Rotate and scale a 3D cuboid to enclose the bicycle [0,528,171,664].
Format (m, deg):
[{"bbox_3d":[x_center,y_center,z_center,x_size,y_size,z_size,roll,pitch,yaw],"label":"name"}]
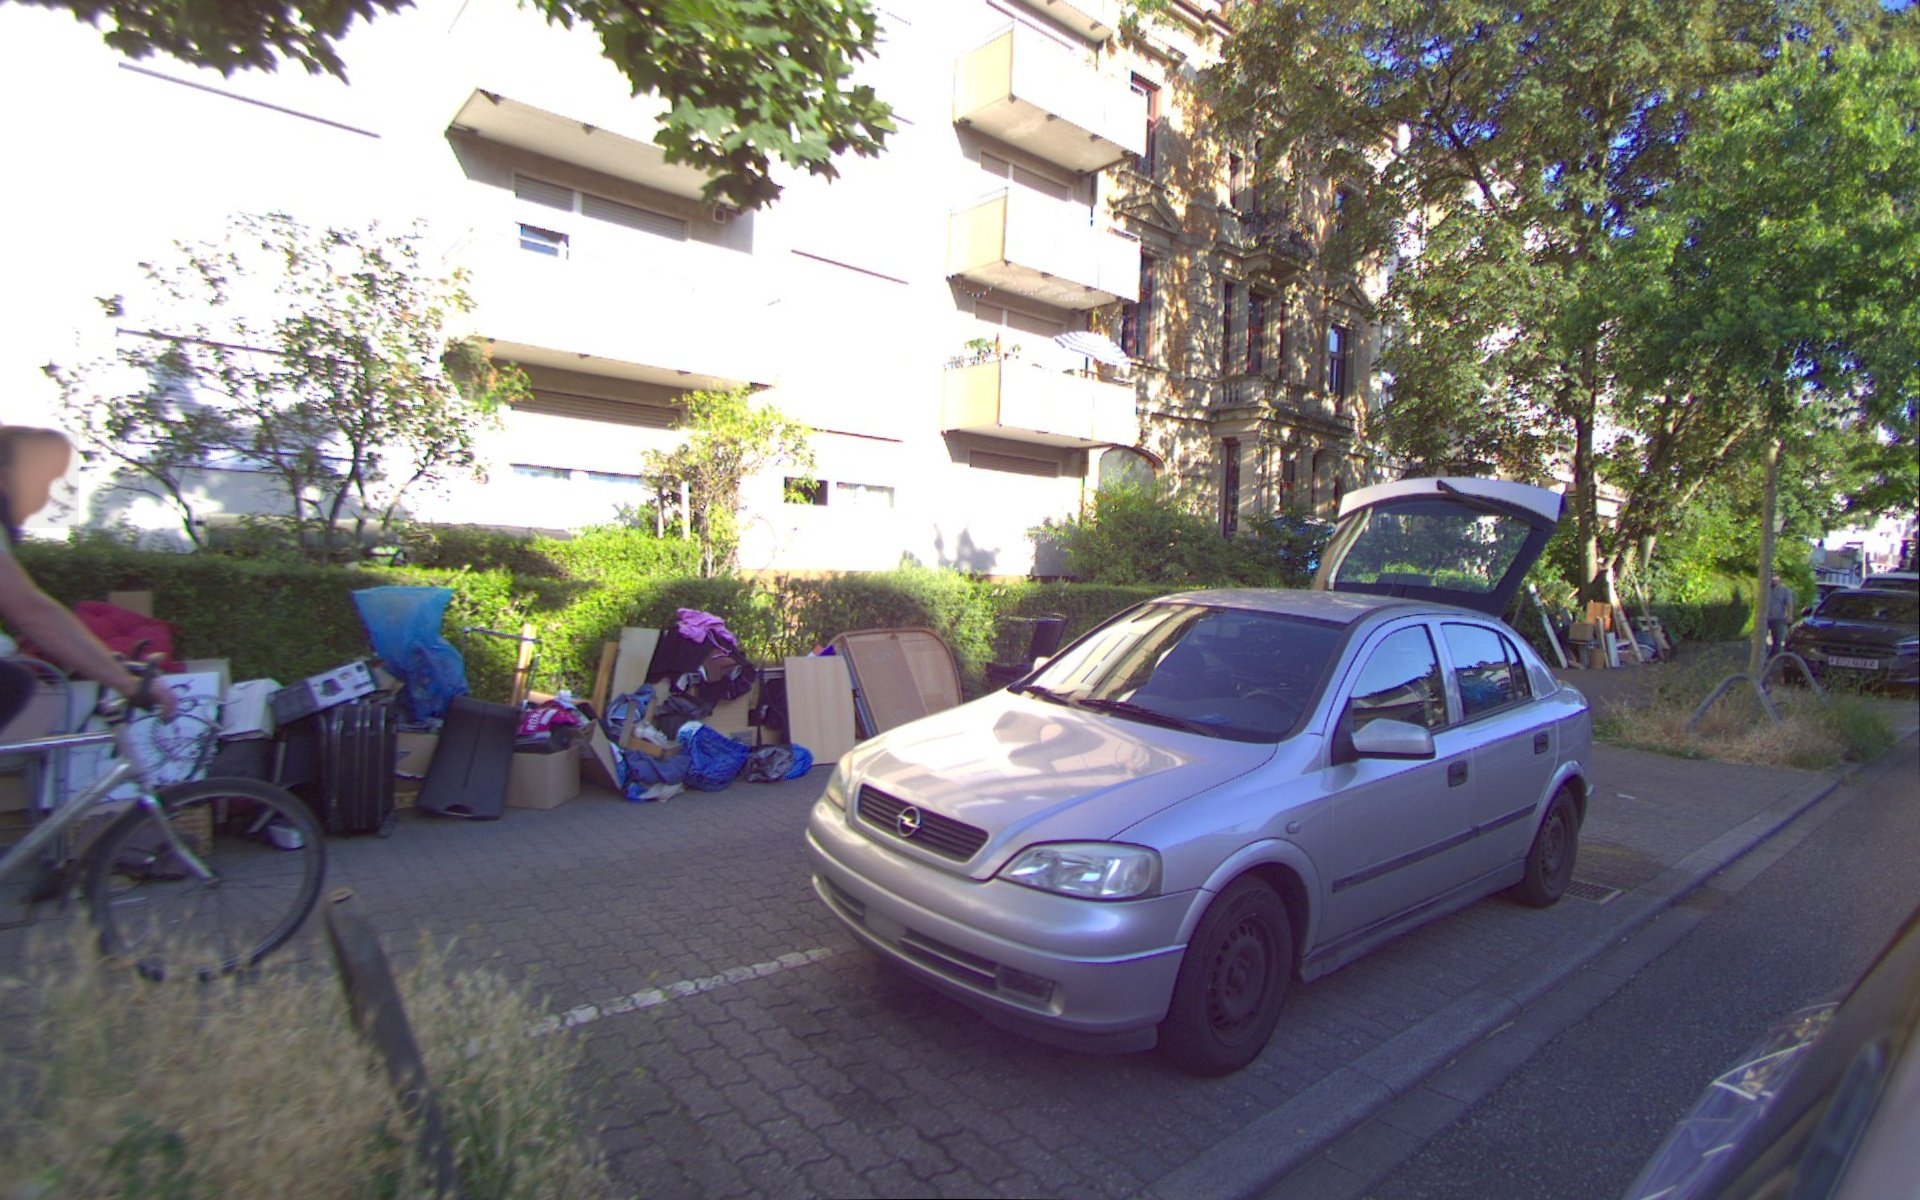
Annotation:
[{"bbox_3d":[-8.485,-0.084,9.710,0.507,1.154,2.210,1,2,-12],"label":"bicycle"}]

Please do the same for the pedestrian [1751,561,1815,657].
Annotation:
[{"bbox_3d":[16.171,0.156,19.878,1.071,1.795,0.821,0,2,-45],"label":"pedestrian"}]

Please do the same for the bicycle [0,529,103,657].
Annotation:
[{"bbox_3d":[-9.026,-0.085,9.490,0.507,1.154,2.210,1,2,-12],"label":"bicycle"}]

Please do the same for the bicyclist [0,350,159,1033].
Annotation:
[{"bbox_3d":[-2.797,0.237,2.836,0.837,1.811,0.582,0,2,-41],"label":"bicyclist"}]

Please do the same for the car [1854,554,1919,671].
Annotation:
[{"bbox_3d":[19.248,0.224,19.955,4.562,2.129,1.906,0,2,-43],"label":"car"}]

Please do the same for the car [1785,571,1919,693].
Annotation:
[{"bbox_3d":[14.864,0.448,16.142,4.236,1.622,1.860,0,5,-41],"label":"car"}]

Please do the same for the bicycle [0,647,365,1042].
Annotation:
[{"bbox_3d":[-2.774,0.679,2.877,1.799,0.999,0.517,0,2,-41],"label":"bicycle"}]

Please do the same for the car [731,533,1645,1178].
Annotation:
[{"bbox_3d":[1.318,0.568,4.435,4.194,1.498,1.712,0,4,-41],"label":"car"}]
